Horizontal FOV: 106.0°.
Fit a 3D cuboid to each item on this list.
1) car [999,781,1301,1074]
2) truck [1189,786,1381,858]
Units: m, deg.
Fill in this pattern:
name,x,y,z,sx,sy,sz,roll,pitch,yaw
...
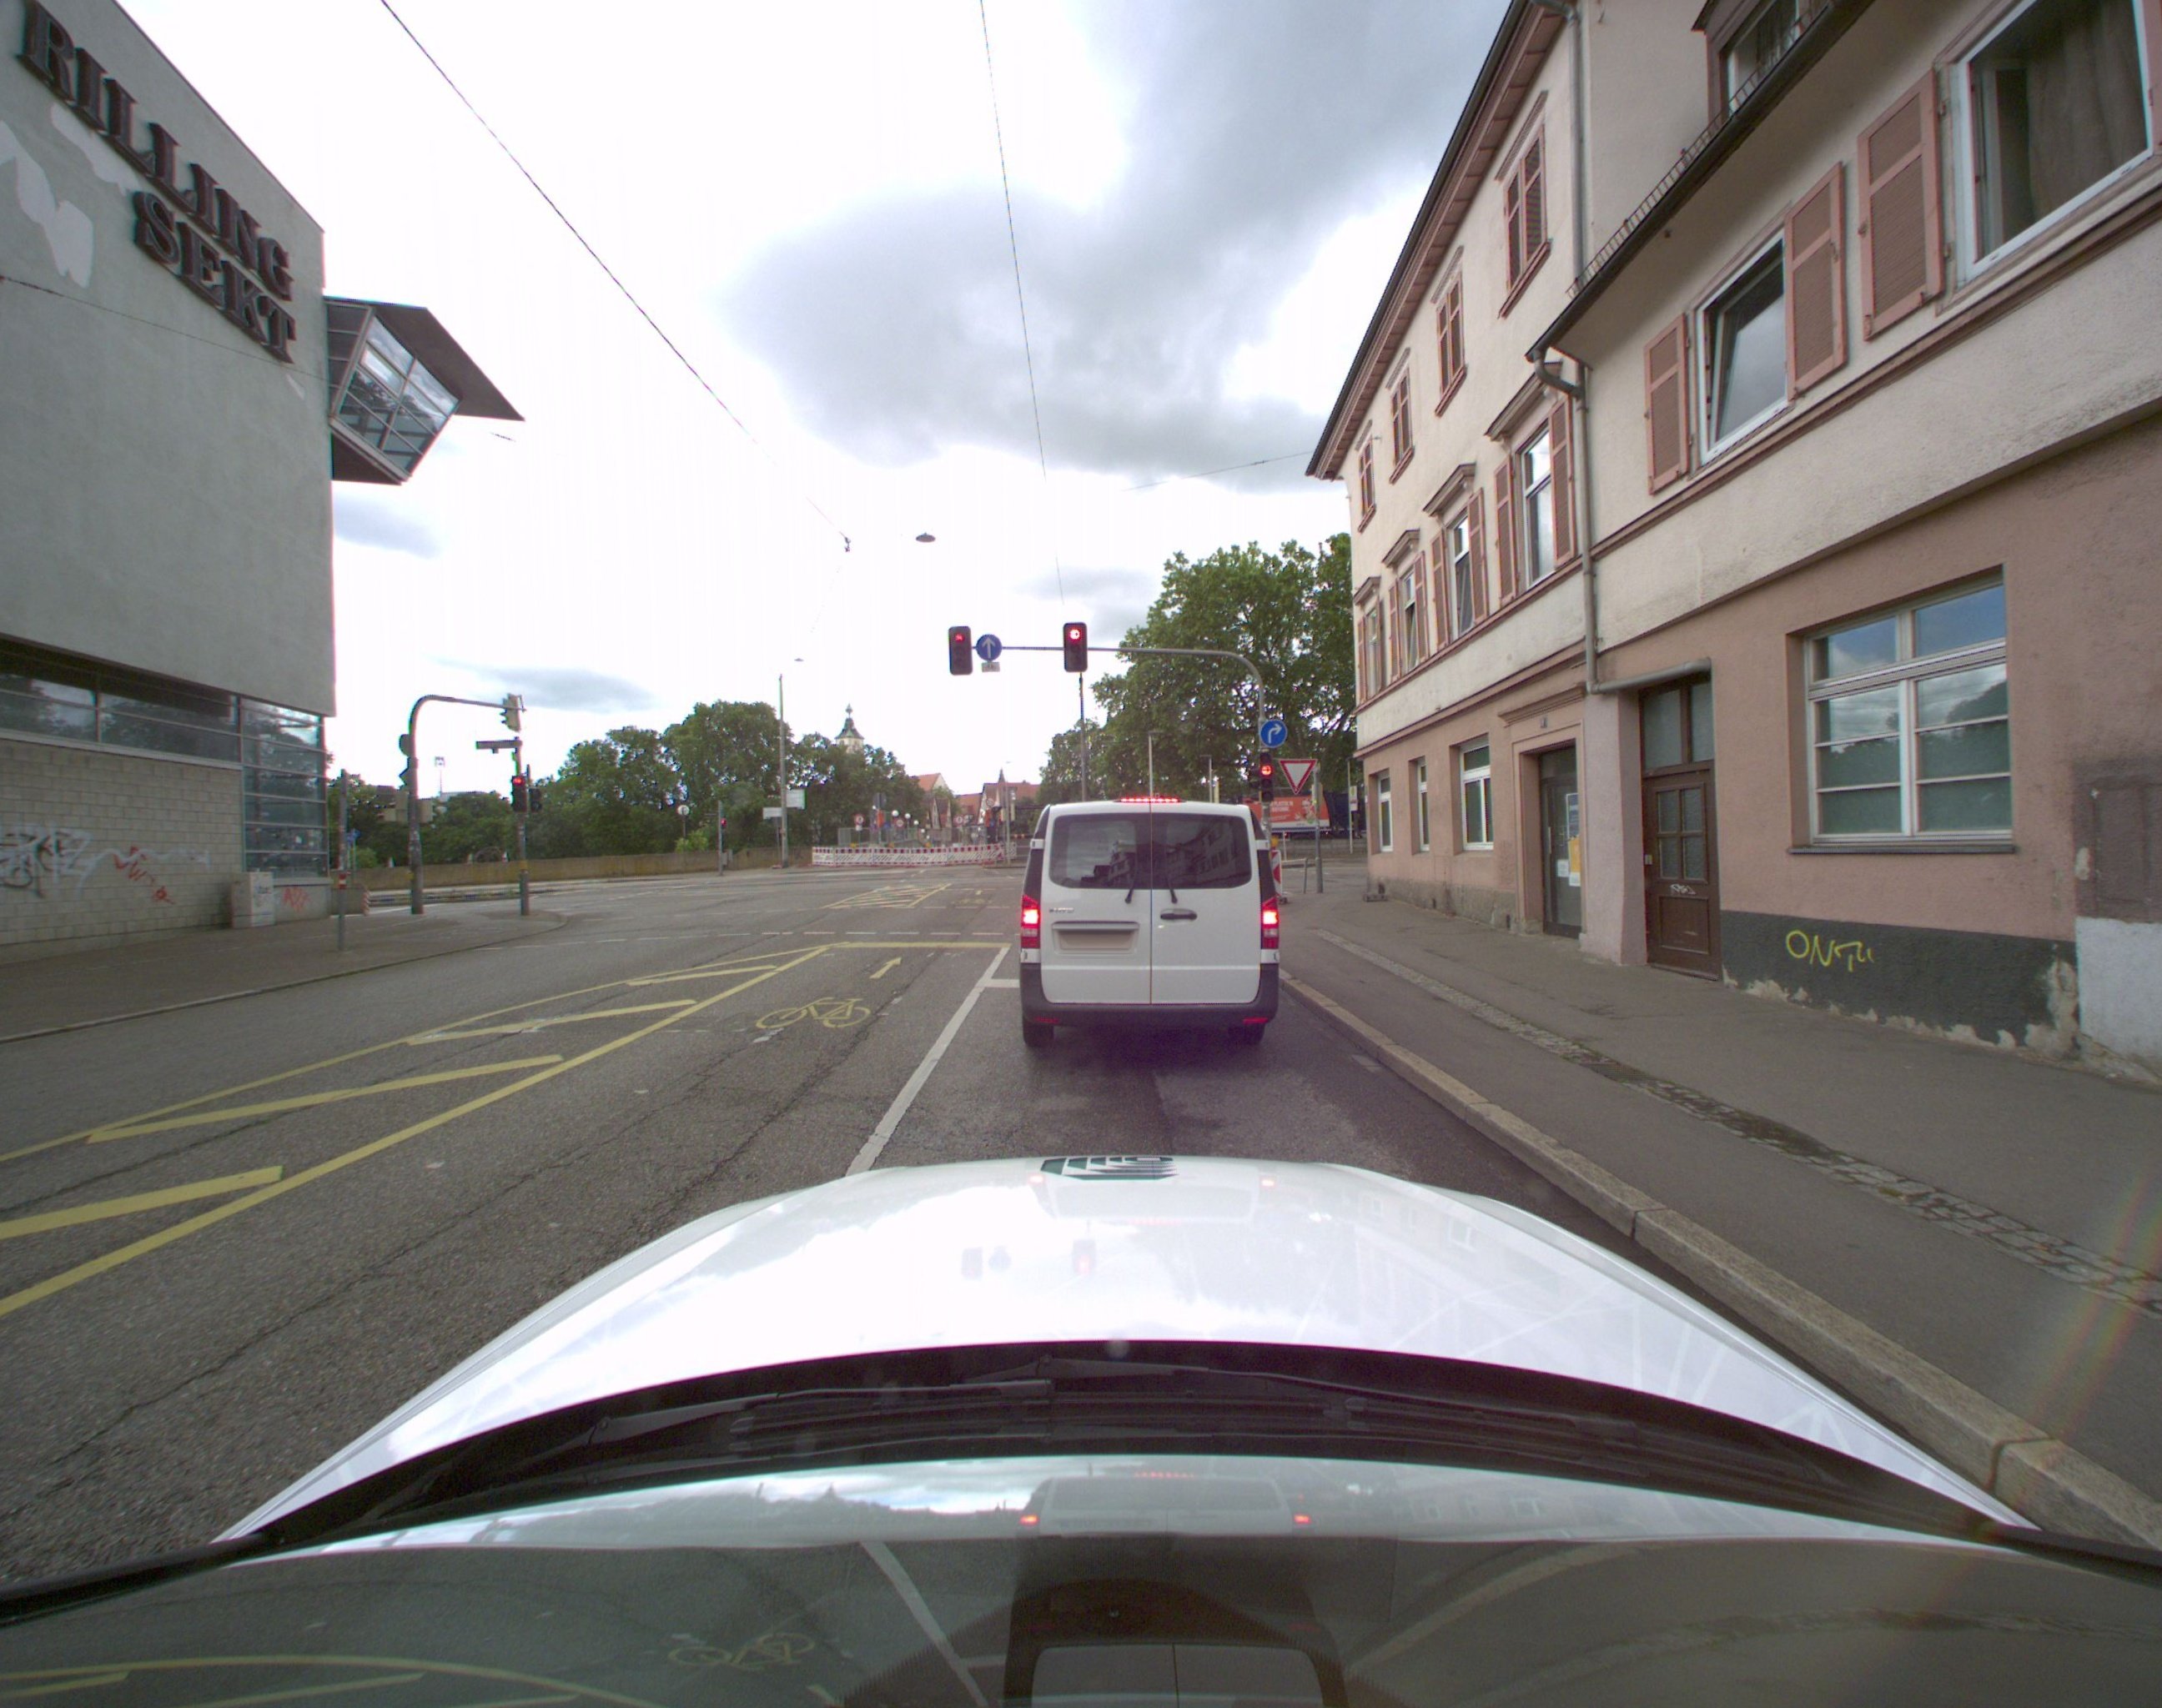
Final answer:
name,x,y,z,sx,sy,sz,roll,pitch,yaw
car,0.451,0.421,7.523,1.987,1.922,4.248,-1,2,-1
truck,11.253,-1.776,45.138,10.176,3.696,2.265,-1,0,-7
